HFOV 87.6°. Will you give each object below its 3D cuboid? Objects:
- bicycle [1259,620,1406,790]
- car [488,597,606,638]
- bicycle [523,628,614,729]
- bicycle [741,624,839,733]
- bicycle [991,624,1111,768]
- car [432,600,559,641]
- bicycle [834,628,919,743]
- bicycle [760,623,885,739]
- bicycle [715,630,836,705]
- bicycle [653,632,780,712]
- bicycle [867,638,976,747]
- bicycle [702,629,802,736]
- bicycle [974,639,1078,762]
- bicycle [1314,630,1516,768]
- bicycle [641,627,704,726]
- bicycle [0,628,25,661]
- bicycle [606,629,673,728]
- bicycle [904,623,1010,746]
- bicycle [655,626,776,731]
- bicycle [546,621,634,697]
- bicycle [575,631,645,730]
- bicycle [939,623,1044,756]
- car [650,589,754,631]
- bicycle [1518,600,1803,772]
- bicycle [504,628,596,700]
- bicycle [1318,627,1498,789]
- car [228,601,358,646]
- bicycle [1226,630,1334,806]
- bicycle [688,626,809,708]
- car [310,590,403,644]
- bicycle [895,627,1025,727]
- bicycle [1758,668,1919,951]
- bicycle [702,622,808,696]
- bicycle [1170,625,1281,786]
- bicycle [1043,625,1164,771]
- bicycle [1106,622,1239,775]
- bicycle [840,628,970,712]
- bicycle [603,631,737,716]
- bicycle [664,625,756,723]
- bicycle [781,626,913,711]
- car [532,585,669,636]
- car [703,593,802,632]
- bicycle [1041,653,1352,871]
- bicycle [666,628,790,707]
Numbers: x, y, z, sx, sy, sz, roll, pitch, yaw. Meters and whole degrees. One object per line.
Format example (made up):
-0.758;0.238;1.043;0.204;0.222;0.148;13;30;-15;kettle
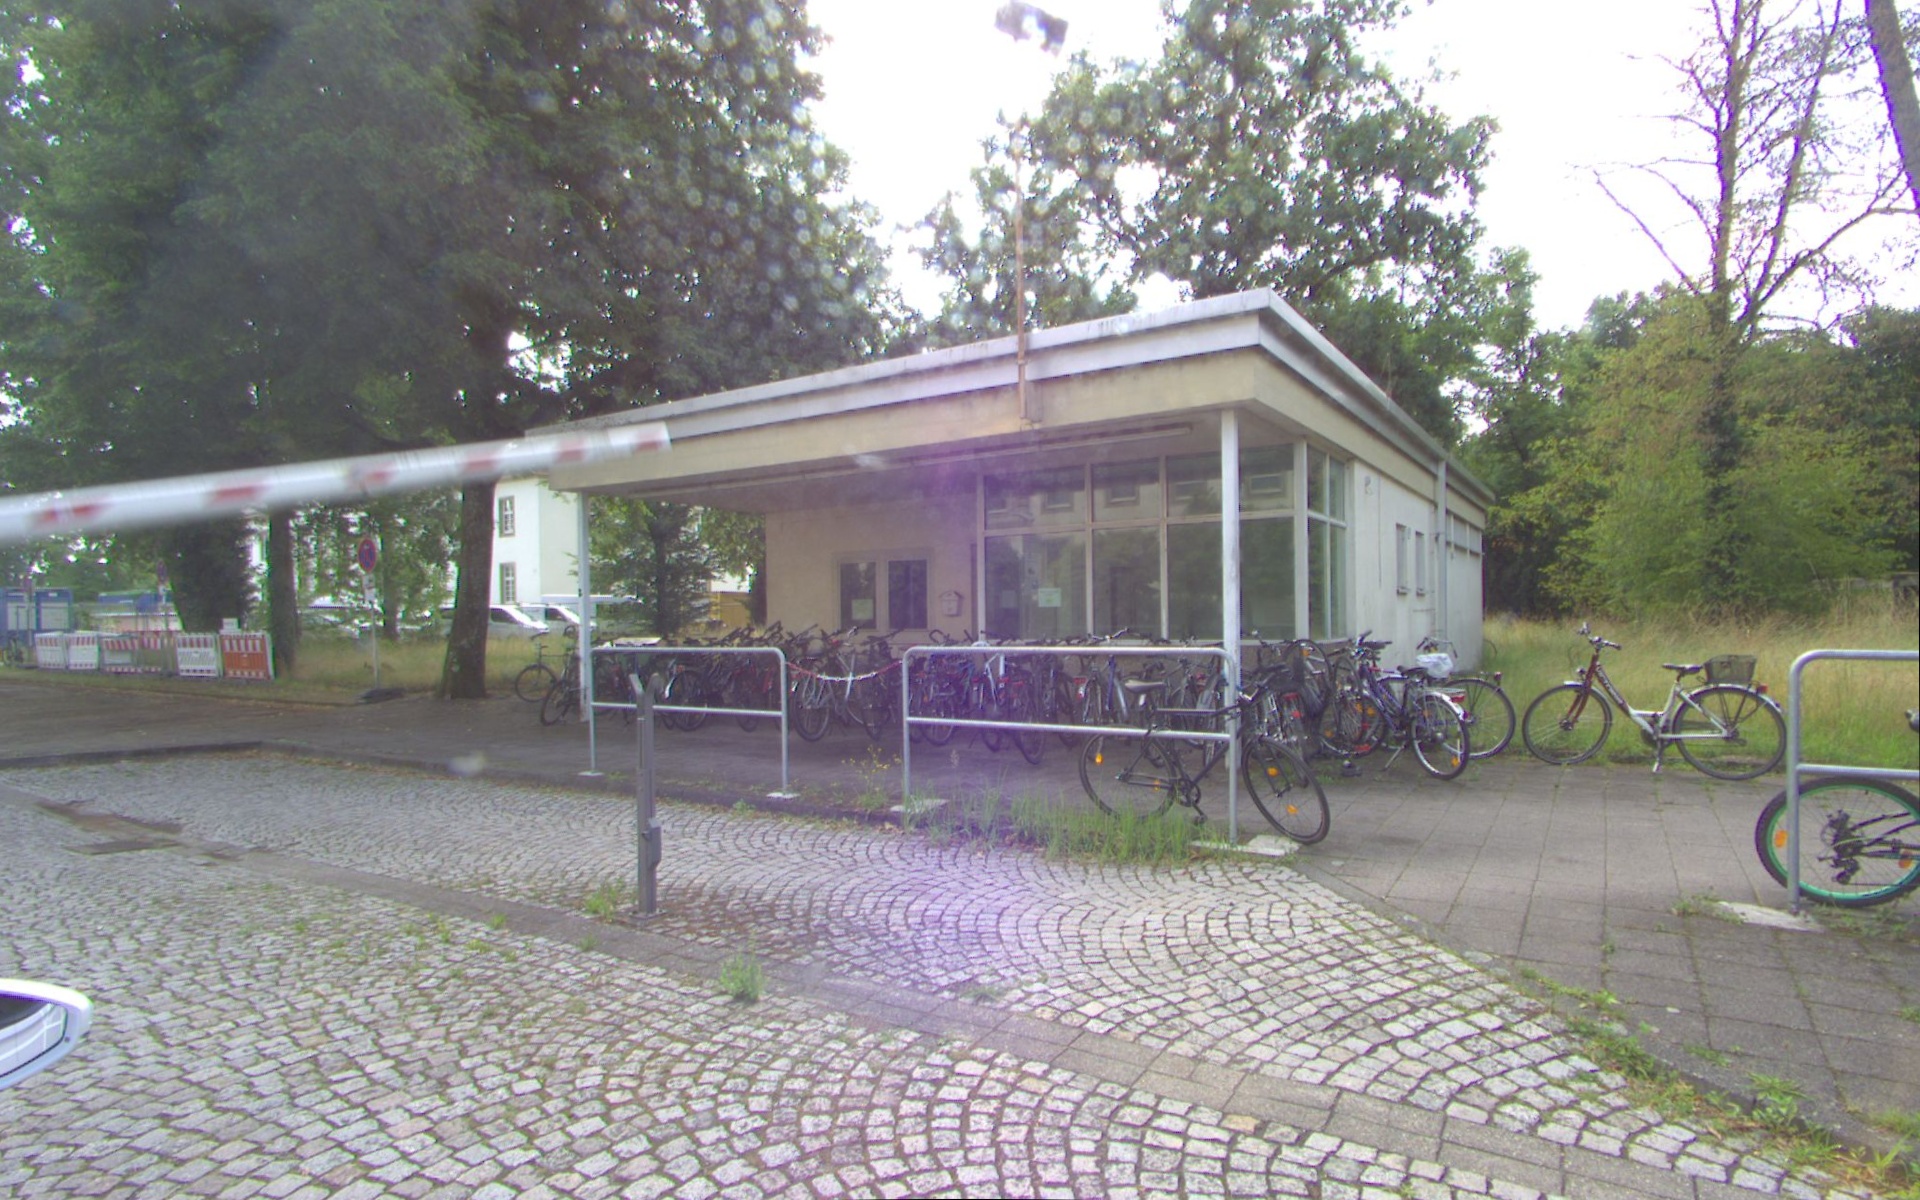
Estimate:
3.000;0.789;8.212;0.428;1.186;1.652;-2;1;-5;bicycle
-19.435;0.827;47.202;4.746;1.812;2.000;-1;-1;5;car
-5.070;0.995;13.054;0.425;1.186;1.382;-3;1;8;bicycle
-2.028;0.911;12.188;0.488;1.186;1.805;-3;-1;12;bicycle
0.921;0.856;9.567;0.386;1.186;2.070;-3;-1;26;bicycle
-20.669;0.910;44.684;4.746;1.671;2.000;-1;-1;5;car
-0.908;0.924;11.327;0.394;1.174;1.704;-3;-1;14;bicycle
-1.519;0.878;11.425;0.574;1.186;1.802;-3;-1;21;bicycle
-2.812;1.034;15.219;1.866;1.097;0.371;-3;0;22;bicycle
-3.484;1.005;14.279;1.880;1.081;0.371;-1;0;22;bicycle
-0.375;0.977;11.071;0.394;1.042;1.980;-3;-1;22;bicycle
-2.527;0.971;12.350;0.488;1.186;1.749;-3;-1;12;bicycle
0.691;0.950;9.913;0.348;1.044;1.769;-3;-1;26;bicycle
3.957;0.826;8.754;1.572;1.098;0.434;0;1;32;bicycle
-3.699;0.958;12.974;0.352;1.186;1.383;-3;-1;1;bicycle
-30.155;1.415;31.719;1.702;1.020;0.331;-3;-1;32;bicycle
-4.092;0.973;12.867;0.352;1.186;1.383;-3;-1;1;bicycle
0.013;0.868;10.909;0.394;1.186;1.980;-3;-1;22;bicycle
-3.042;0.949;12.618;0.353;1.186;1.799;-3;-1;27;bicycle
-6.146;0.987;16.591;1.533;1.186;0.503;-4;-1;32;bicycle
-4.488;1.006;12.905;0.352;1.186;1.383;-3;-1;1;bicycle
0.369;0.867;10.328;0.394;1.186;2.017;-3;0;21;bicycle
-14.184;0.552;54.870;5.618;1.982;2.435;-4;-1;35;car
5.333;0.641;7.718;0.432;1.186;1.708;-2;-1;-44;bicycle
-6.639;1.046;16.183;1.563;1.100;0.503;-3;-1;31;bicycle
3.587;0.813;8.161;0.428;1.134;1.651;-2;0;-12;bicycle
-28.512;0.995;42.924;1.973;1.844;4.208;-2;-1;35;car
2.503;0.873;7.983;0.428;1.186;1.652;-3;0;5;bicycle
-3.168;0.972;14.944;1.866;1.134;0.371;1;1;22;bicycle
-29.522;0.865;48.917;5.288;2.455;1.987;-2;-1;36;car
0.032;0.948;12.818;0.441;1.133;1.880;-2;-1;45;bicycle
4.317;0.858;4.096;1.572;1.071;0.728;-1;1;33;bicycle
-3.299;0.949;16.019;1.871;1.143;0.370;-3;0;31;bicycle
2.220;0.823;8.268;0.430;1.186;1.388;-3;-1;33;bicycle
1.394;0.859;9.409;0.478;1.186;1.947;-3;-1;27;bicycle
1.989;0.832;9.129;0.479;1.186;2.066;-3;-1;31;bicycle
-0.792;0.972;14.248;1.866;1.134;0.371;0;1;23;bicycle
-4.019;1.005;13.901;1.764;1.133;0.446;0;0;8;bicycle
-3.240;0.939;13.091;0.353;1.186;1.378;-3;-1;24;bicycle
-1.598;0.959;14.004;1.867;1.133;0.371;-2;0;23;bicycle
-17.835;0.533;49.868;6.079;2.338;2.000;-1;-1;2;car
-12.076;0.729;58.117;5.618;1.982;2.435;-4;-1;35;car
1.408;0.896;6.060;1.690;1.087;0.728;-1;1;33;bicycle
-3.404;0.997;14.637;1.867;1.095;0.371;-3;0;23;bicycle
